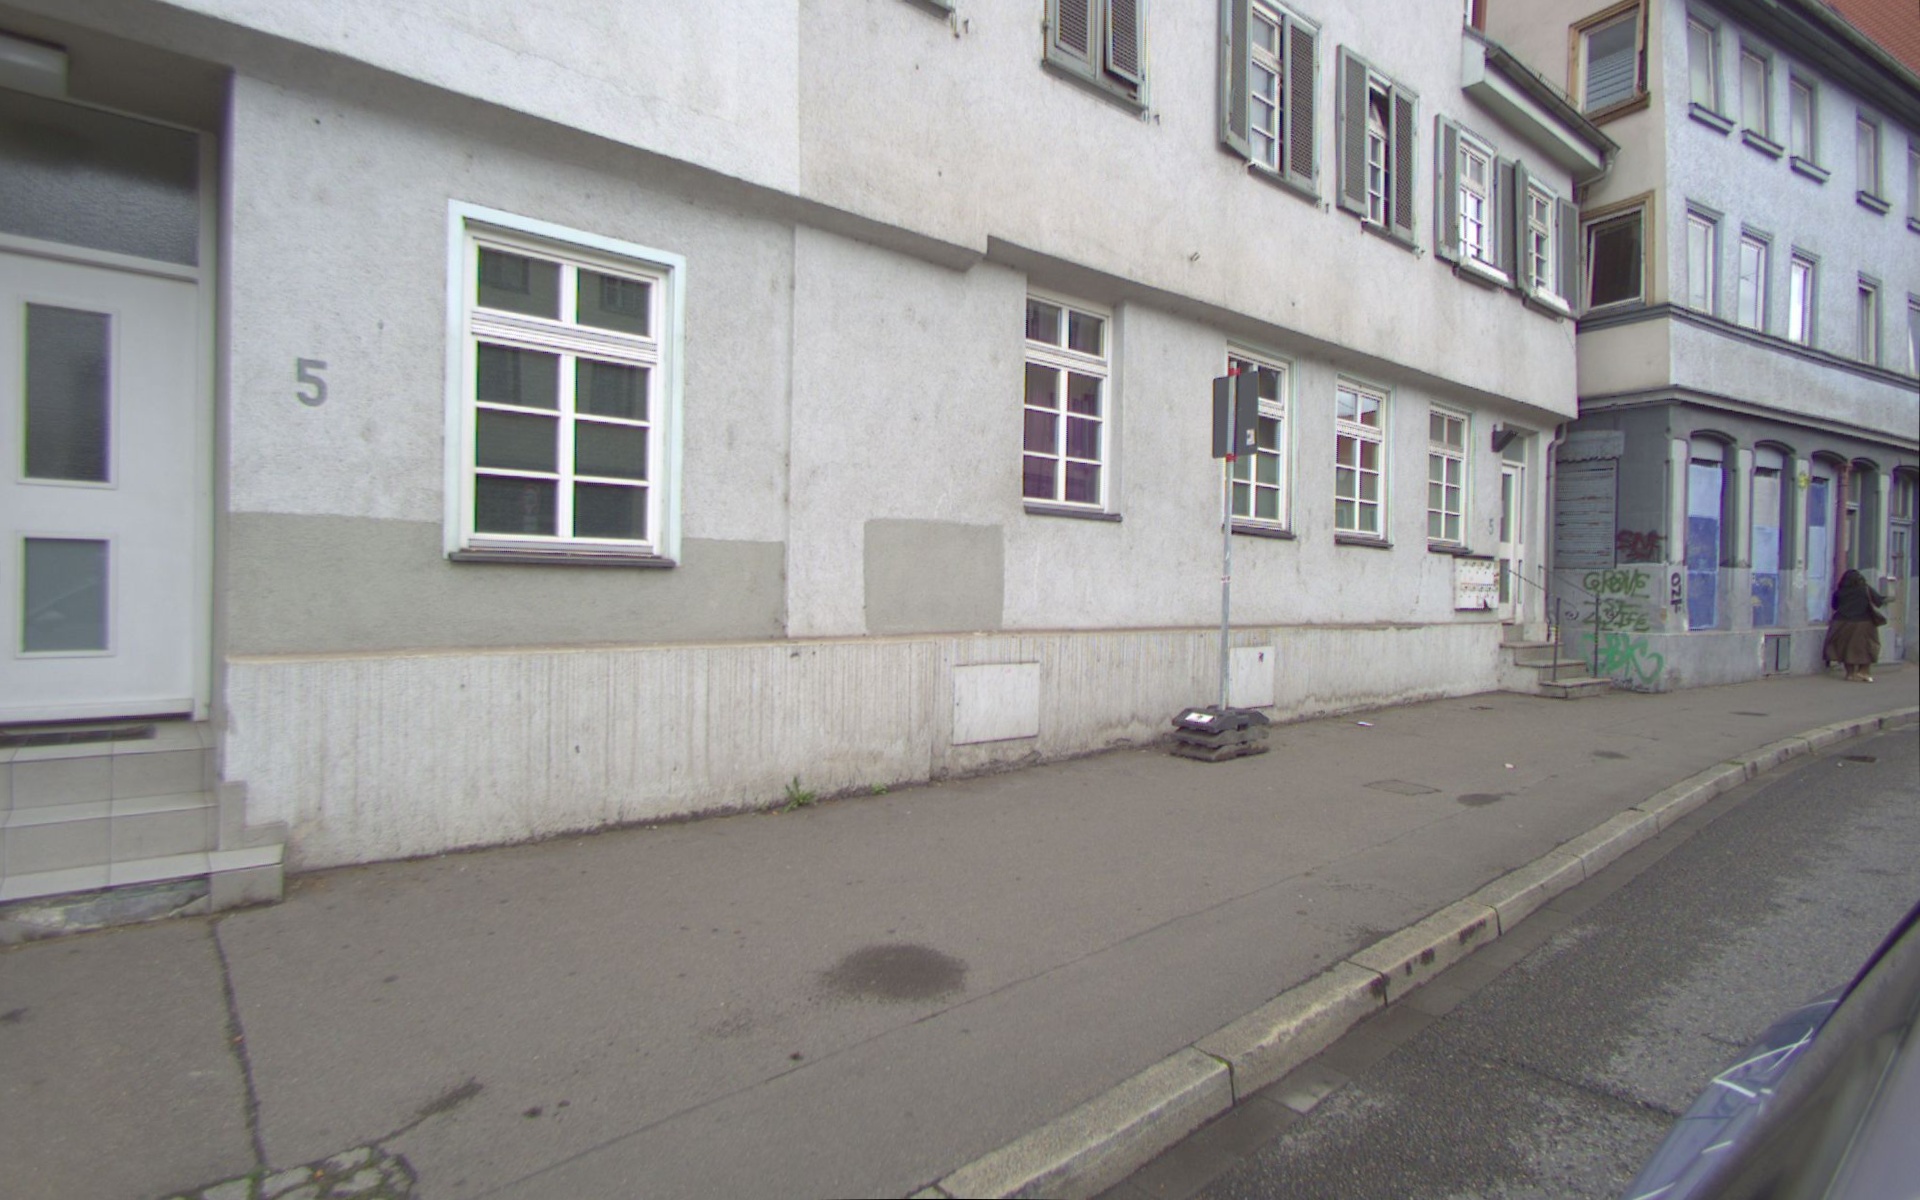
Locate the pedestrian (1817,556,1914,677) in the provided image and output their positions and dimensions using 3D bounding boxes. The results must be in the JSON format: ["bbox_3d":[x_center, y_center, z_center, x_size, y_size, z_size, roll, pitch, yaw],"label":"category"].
[{"bbox_3d":[13.364,0.227,14.937,0.793,1.687,0.758,1,3,-31],"label":"pedestrian"}]
